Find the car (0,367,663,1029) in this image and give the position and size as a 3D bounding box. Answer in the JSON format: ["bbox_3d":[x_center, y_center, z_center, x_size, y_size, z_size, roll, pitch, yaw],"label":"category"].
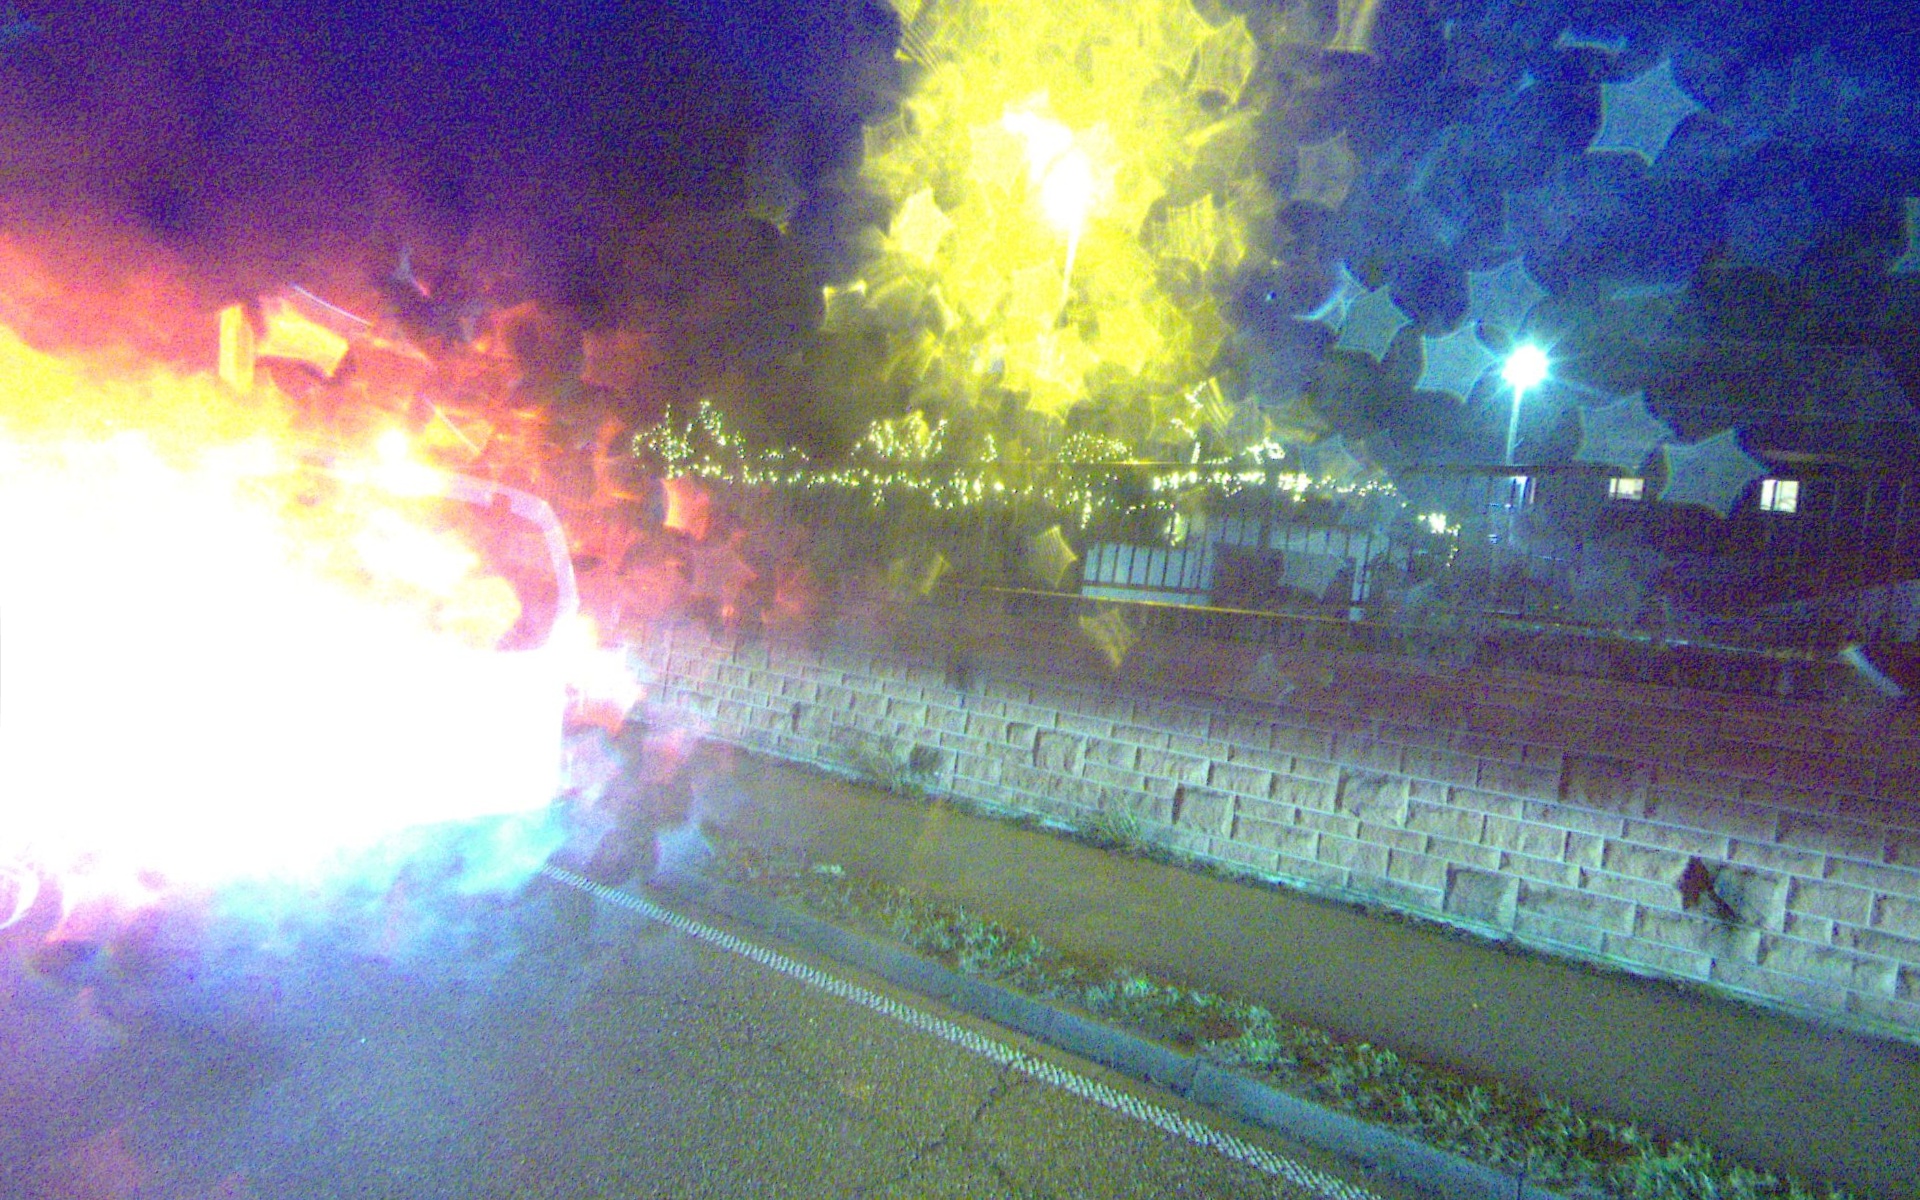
[{"bbox_3d":[-3.703,0.175,4.765,4.269,1.886,1.855,6,-2,32],"label":"car"}]

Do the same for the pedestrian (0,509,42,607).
[{"bbox_3d":[-17.382,-0.781,18.355,0.532,1.721,0.624,7,-1,29],"label":"pedestrian"}]

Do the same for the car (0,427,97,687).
[{"bbox_3d":[-9.619,-0.569,8.724,3.934,2.070,1.973,6,-2,32],"label":"car"}]
